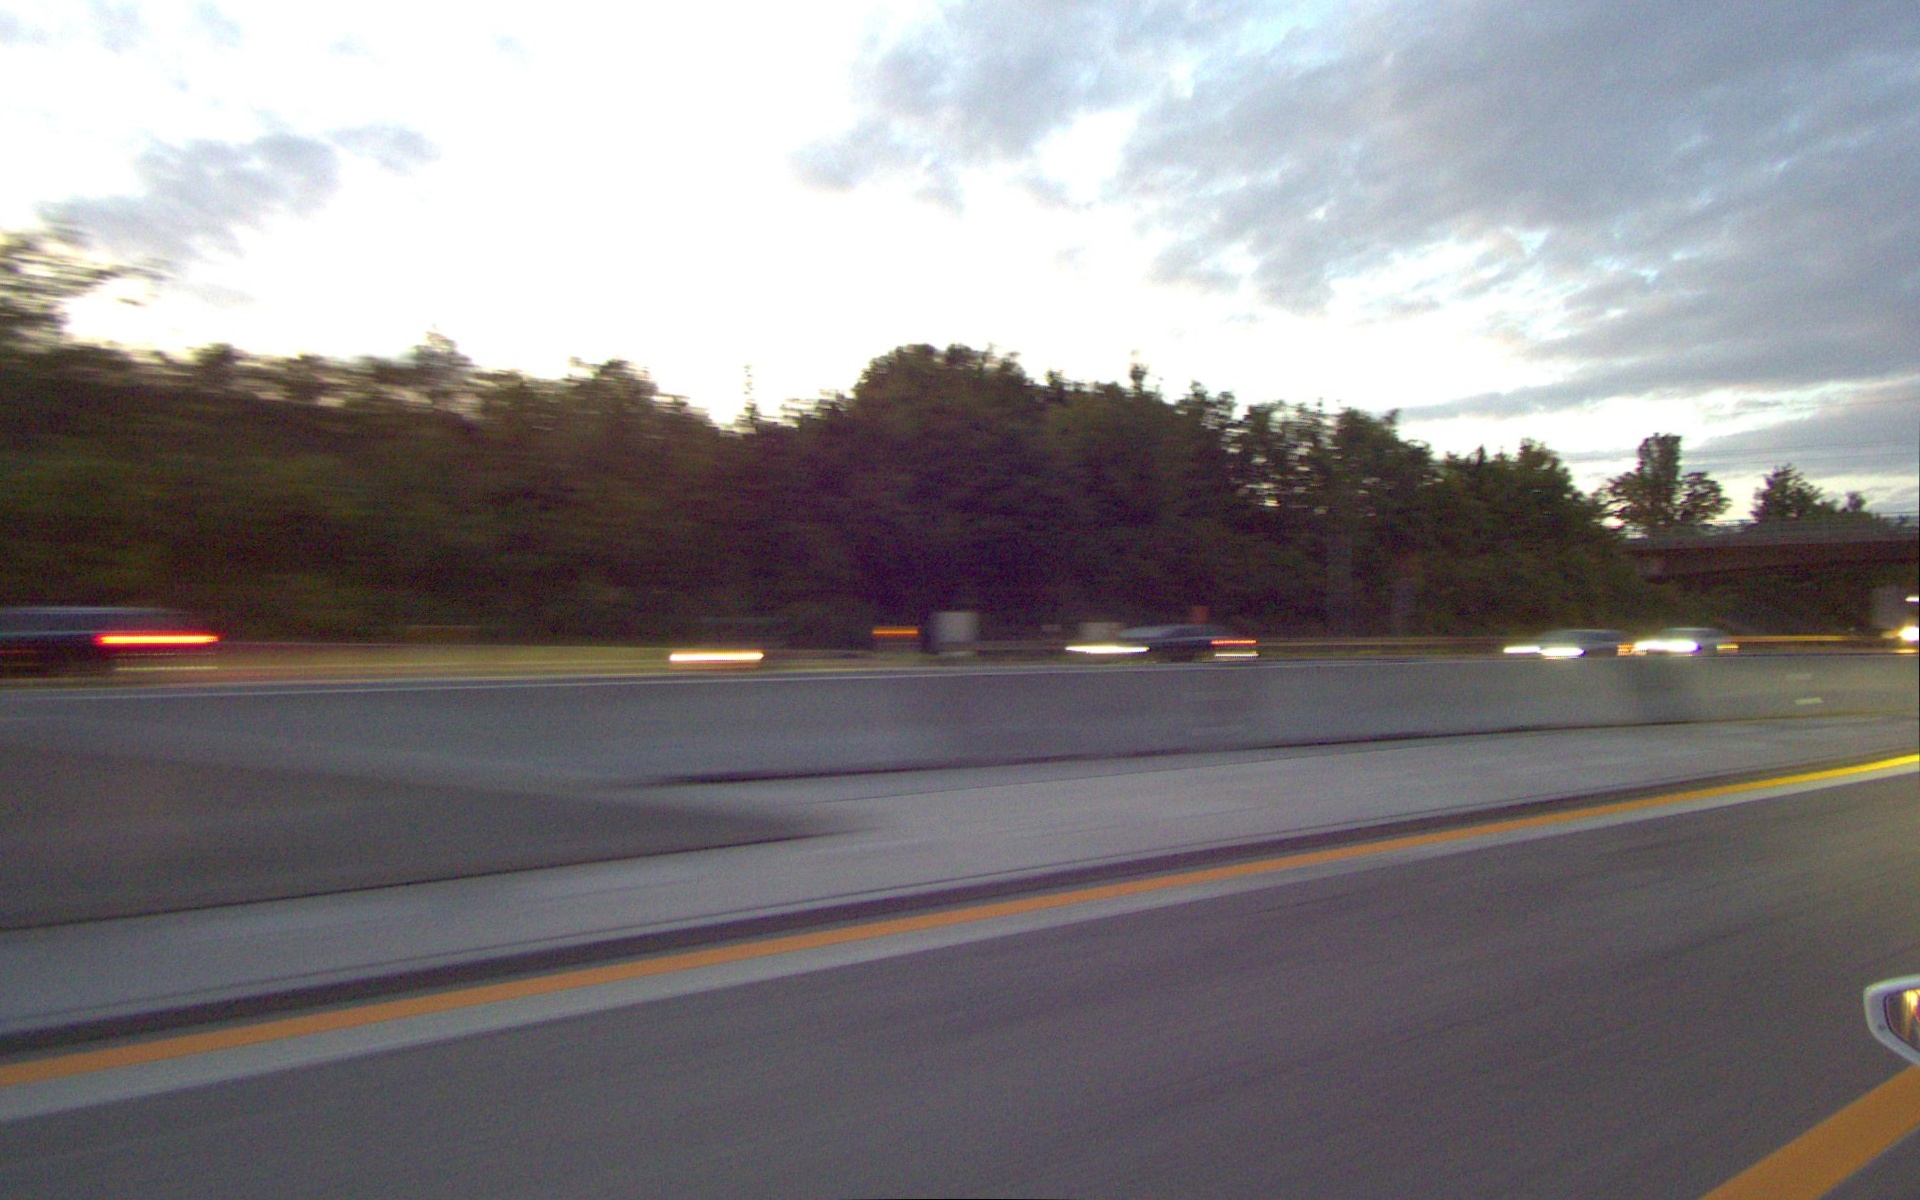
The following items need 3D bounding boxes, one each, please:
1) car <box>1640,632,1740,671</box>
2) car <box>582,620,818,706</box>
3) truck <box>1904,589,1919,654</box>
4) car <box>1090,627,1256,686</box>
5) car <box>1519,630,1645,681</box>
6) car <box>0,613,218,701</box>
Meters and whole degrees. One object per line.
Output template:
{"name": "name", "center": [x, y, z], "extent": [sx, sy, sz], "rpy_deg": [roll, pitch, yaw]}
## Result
{"name": "car", "center": [32.755, 2.294, 45.044], "extent": [4.970, 1.625, 1.585], "rpy_deg": [2, 0, -28]}
{"name": "car", "center": [-5.659, 1.329, 22.036], "extent": [4.693, 1.660, 1.796], "rpy_deg": [2, 0, -29]}
{"name": "truck", "center": [65.038, 1.481, 65.724], "extent": [6.304, 4.227, 2.767], "rpy_deg": [2, 1, -27]}
{"name": "car", "center": [6.629, 1.719, 31.041], "extent": [5.108, 1.660, 1.729], "rpy_deg": [2, 0, -29]}
{"name": "car", "center": [22.635, 1.994, 36.518], "extent": [4.832, 1.660, 1.729], "rpy_deg": [2, 0, -29]}
{"name": "car", "center": [-18.493, 1.158, 20.879], "extent": [4.693, 1.660, 1.796], "rpy_deg": [2, 0, -29]}
